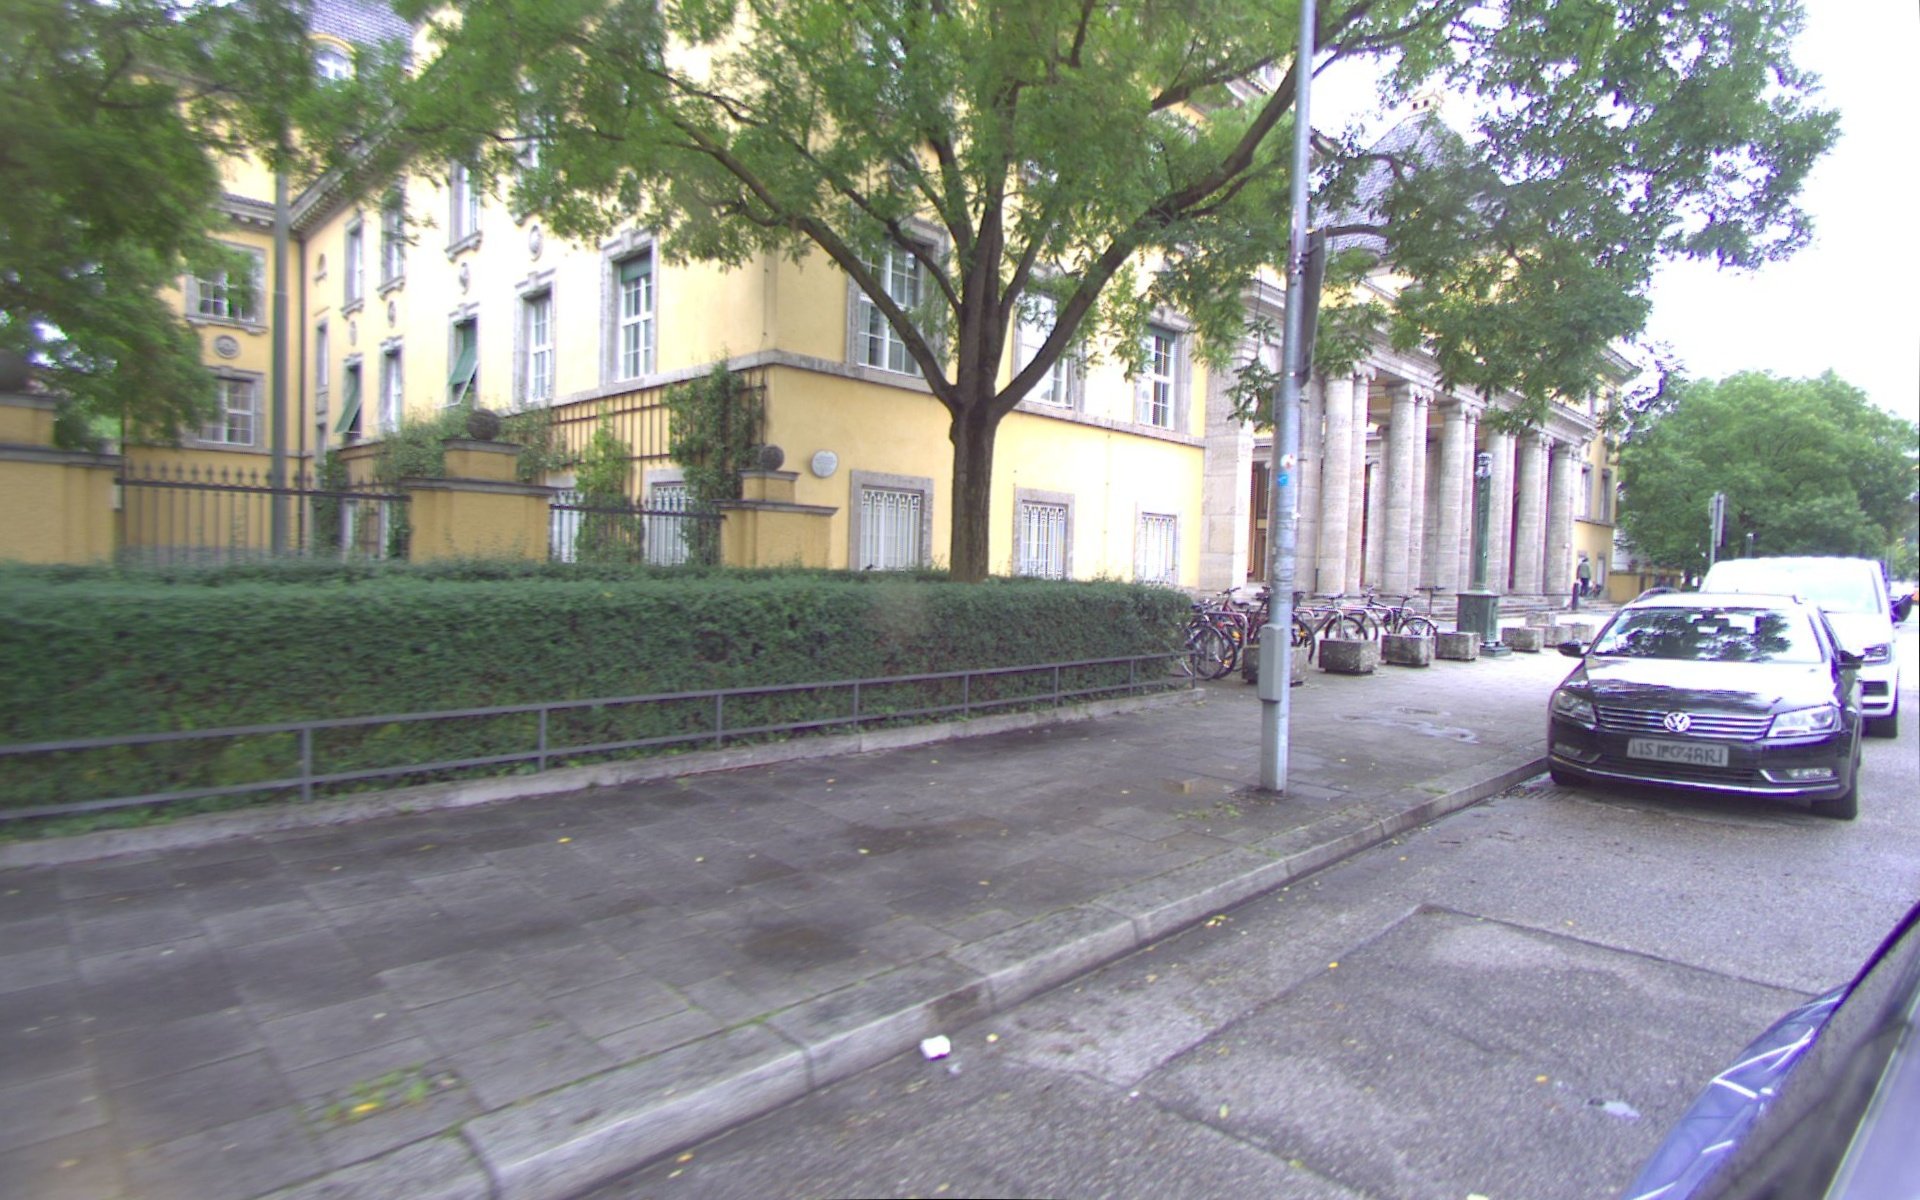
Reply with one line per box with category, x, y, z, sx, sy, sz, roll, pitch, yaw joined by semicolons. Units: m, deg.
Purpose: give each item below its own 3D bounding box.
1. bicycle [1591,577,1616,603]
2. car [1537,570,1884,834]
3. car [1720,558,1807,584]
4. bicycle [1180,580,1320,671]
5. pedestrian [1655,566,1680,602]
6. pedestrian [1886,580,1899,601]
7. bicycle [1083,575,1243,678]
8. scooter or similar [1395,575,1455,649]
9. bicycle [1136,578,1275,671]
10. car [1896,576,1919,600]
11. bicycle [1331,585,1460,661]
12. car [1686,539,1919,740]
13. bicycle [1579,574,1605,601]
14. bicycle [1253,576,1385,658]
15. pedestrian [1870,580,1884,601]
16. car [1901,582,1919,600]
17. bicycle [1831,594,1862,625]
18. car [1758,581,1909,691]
bicycle;33.357;-0.530;52.467;0.600;1.323;2.130;4;3;44
car;6.274;0.561;8.202;1.770;1.509;4.897;0;0;42
car;59.630;-2.168;75.137;4.897;1.702;1.936;5;4;43
bicycle;4.148;0.331;14.614;0.463;1.127;1.935;0;4;-42
pedestrian;35.936;-0.818;51.383;0.788;1.767;1.039;4;3;44
pedestrian;83.131;-0.857;90.219;0.773;1.889;0.984;0;0;39
bicycle;2.570;0.300;13.021;2.032;1.127;0.464;5;4;43
scooter or similar;8.322;0.205;18.155;0.528;1.237;1.013;3;3;0
bicycle;3.416;0.314;14.253;0.463;1.127;1.935;0;4;-43
car;95.905;-1.232;101.795;2.226;2.331;4.664;0;1;39
bicycle;7.400;0.361;17.280;1.932;1.127;0.464;5;4;43
car;10.437;0.366;12.363;1.845;1.957;5.189;0;0;44
bicycle;31.734;-0.628;50.810;0.600;1.323;2.227;4;3;45
bicycle;5.666;0.242;16.072;0.463;1.127;1.935;0;4;-42
pedestrian;82.279;-0.855;90.802;0.773;1.889;0.984;0;0;37
car;139.288;-1.287;145.879;2.523;2.567;4.990;-1;1;-2
bicycle;34.797;0.359;39.712;0.761;1.113;2.228;7;5;44
car;13.873;0.498;16.026;2.886;1.565;1.606;0;1;-45
